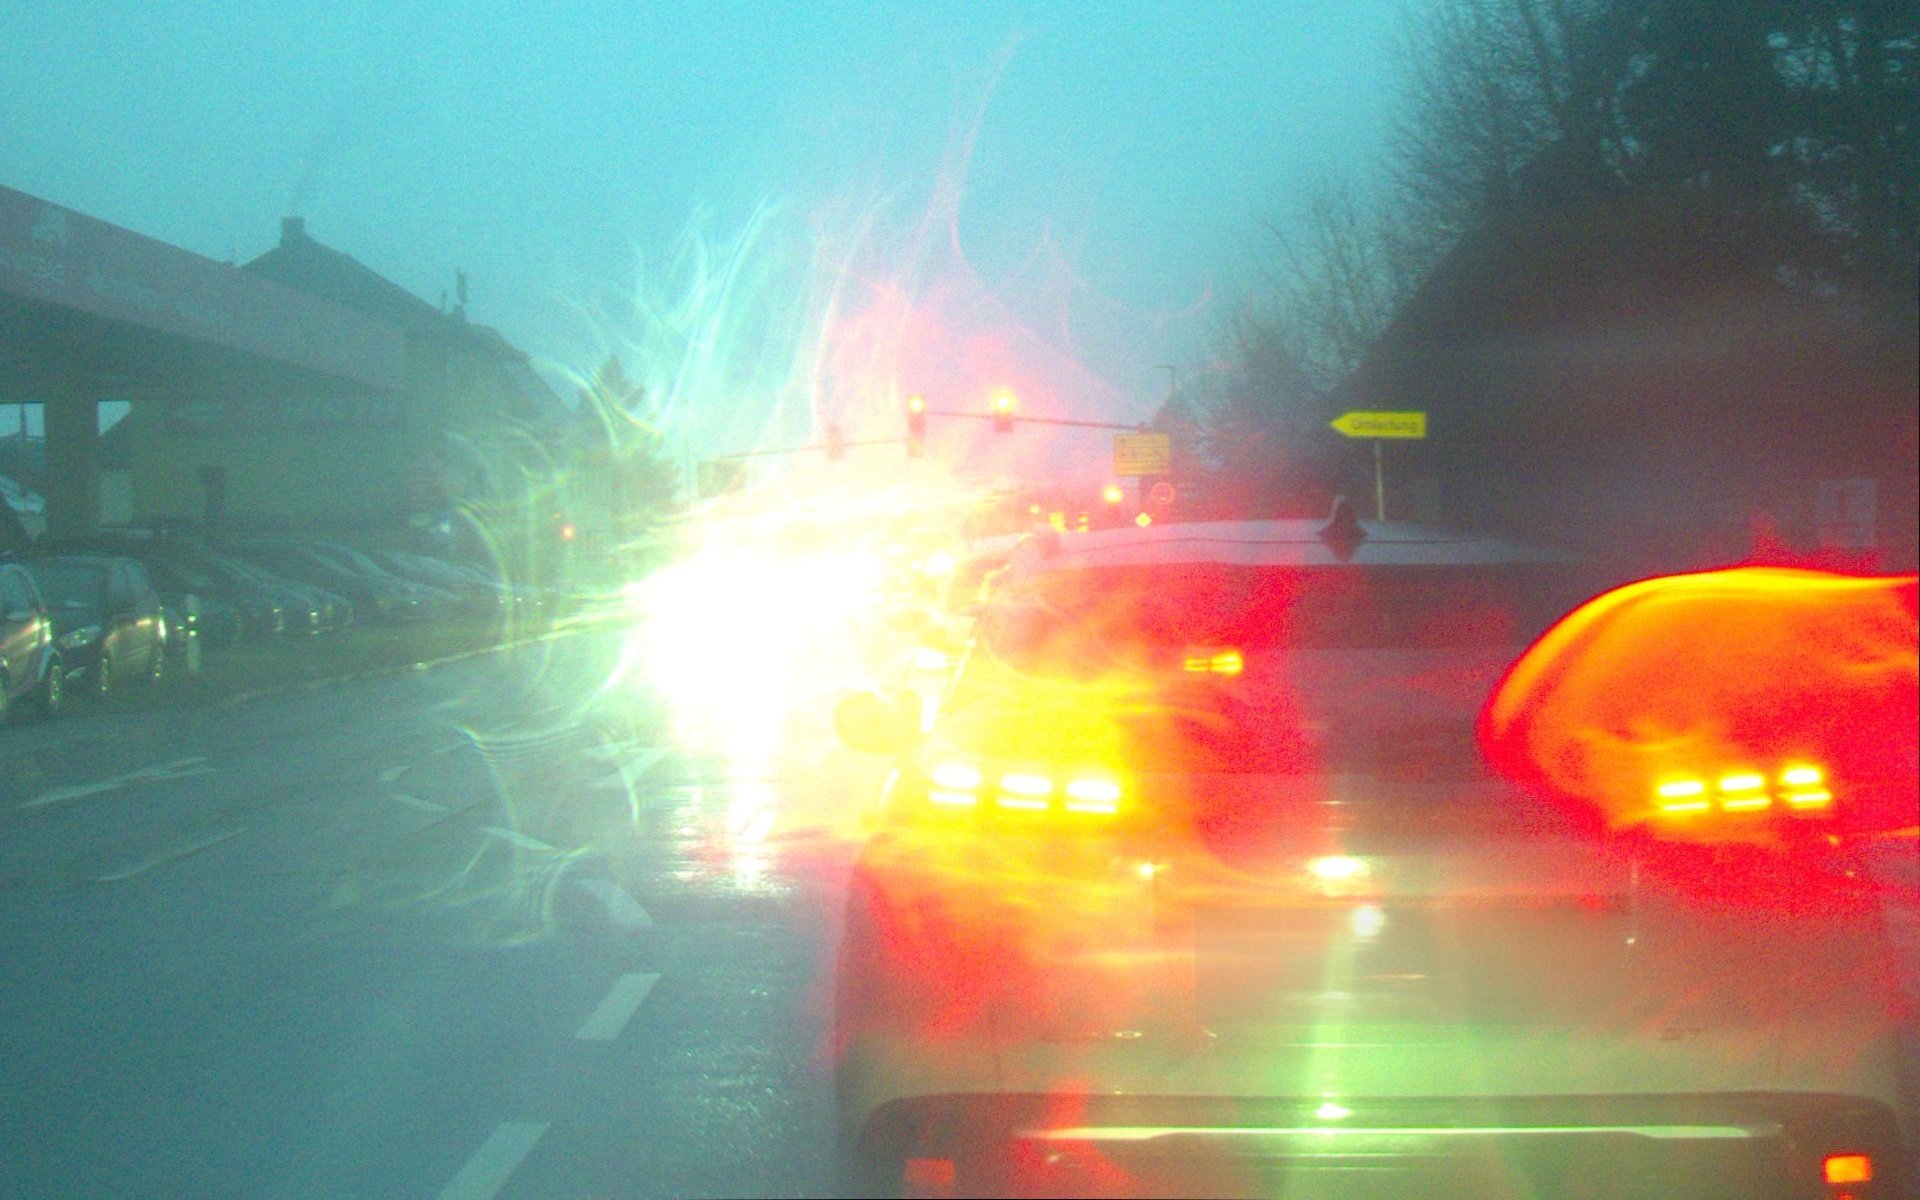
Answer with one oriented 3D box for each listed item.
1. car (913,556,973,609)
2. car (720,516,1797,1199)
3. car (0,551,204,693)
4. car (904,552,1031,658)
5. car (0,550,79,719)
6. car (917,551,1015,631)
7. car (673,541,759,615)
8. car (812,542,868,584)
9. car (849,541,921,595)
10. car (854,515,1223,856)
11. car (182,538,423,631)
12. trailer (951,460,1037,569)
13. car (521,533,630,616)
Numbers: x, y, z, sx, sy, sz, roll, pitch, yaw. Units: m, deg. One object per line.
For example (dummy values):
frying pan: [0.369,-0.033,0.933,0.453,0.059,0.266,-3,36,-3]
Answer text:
car: [-0.471,-0.504,96.419,1.662,1.434,4.382,0,1,0]
car: [0.459,0.611,7.030,1.565,1.524,4.007,0,1,1]
car: [-9.479,0.204,37.074,1.682,1.416,3.740,-1,1,2]
car: [0.120,0.038,47.239,1.641,1.362,4.769,0,1,1]
car: [-9.603,0.331,32.896,1.518,1.537,3.015,-2,1,0]
car: [0.117,-0.187,60.837,1.653,1.331,4.272,-1,1,0]
car: [-5.427,-0.513,76.860,1.603,1.529,4.000,-3,1,0]
car: [-5.182,-1.606,149.383,1.994,1.740,4.000,-2,1,3]
car: [-2.341,-0.998,106.207,2.047,1.567,4.703,-2,1,-3]
car: [0.392,0.360,18.383,1.708,1.570,4.464,-1,1,1]
car: [-12.814,-0.313,67.165,4.276,1.657,2.000,2,1,1]
trailer: [0.997,-2.597,107.730,2.488,3.229,10.869,0,1,0]
car: [-9.001,-0.616,80.788,1.970,1.824,4.513,-2,1,0]
